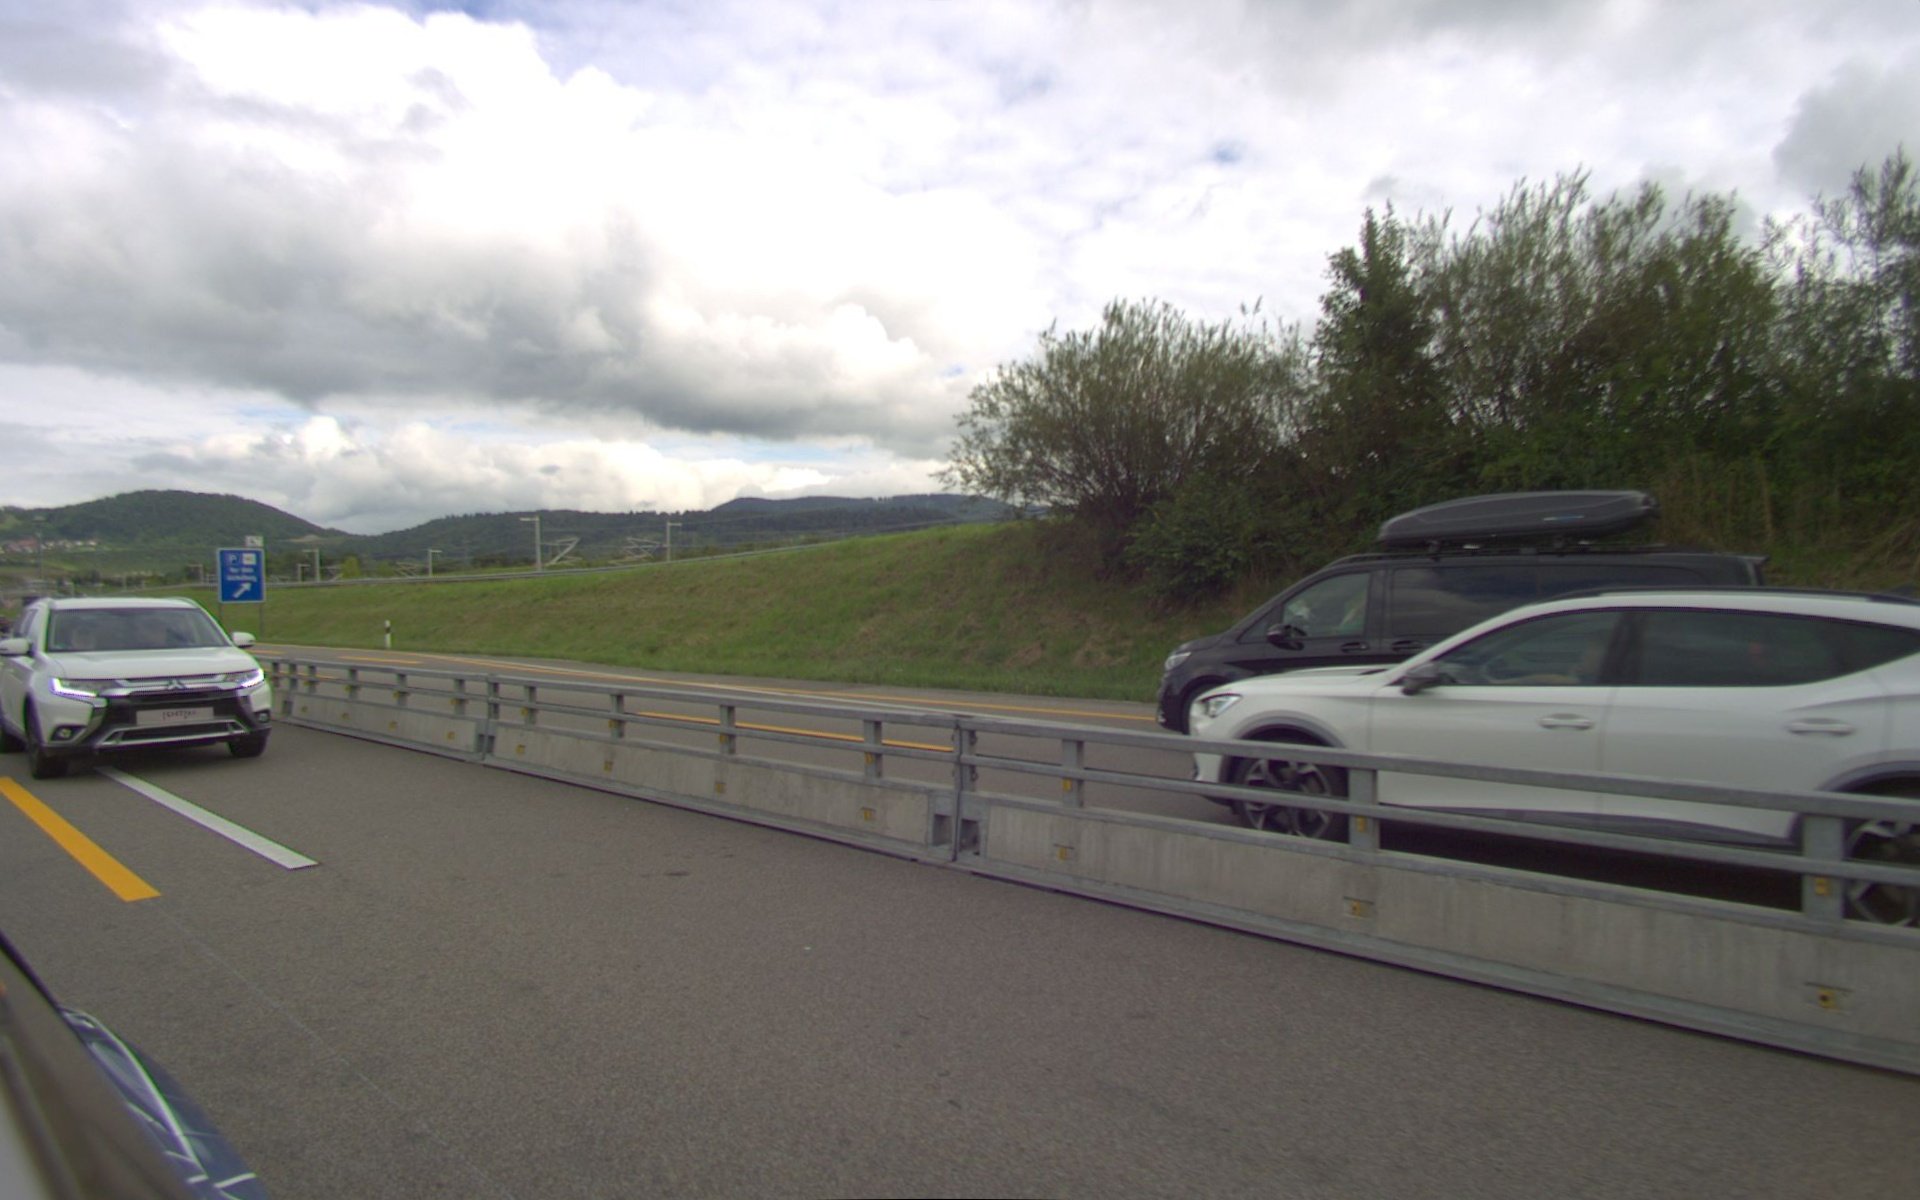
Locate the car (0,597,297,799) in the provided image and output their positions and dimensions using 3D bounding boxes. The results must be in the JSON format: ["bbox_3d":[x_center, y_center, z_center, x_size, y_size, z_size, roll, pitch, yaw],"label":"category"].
[{"bbox_3d":[-8.717,0.830,10.498,4.606,1.640,1.972,-1,-1,42],"label":"car"}]

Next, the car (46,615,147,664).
[{"bbox_3d":[-28.560,1.265,33.425,4.587,1.480,1.916,-1,-1,42],"label":"car"}]

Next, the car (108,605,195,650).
[{"bbox_3d":[-34.358,1.152,42.944,4.930,1.805,1.973,-1,0,40],"label":"car"}]

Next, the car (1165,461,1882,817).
[{"bbox_3d":[4.534,0.274,8.832,5.045,2.270,1.974,-1,0,40],"label":"car"}]

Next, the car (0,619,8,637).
[{"bbox_3d":[-73.647,2.133,76.798,3.998,1.398,1.739,-1,0,42],"label":"car"}]

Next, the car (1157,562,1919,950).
[{"bbox_3d":[3.616,0.630,5.454,4.666,1.532,1.973,-1,-1,41],"label":"car"}]
